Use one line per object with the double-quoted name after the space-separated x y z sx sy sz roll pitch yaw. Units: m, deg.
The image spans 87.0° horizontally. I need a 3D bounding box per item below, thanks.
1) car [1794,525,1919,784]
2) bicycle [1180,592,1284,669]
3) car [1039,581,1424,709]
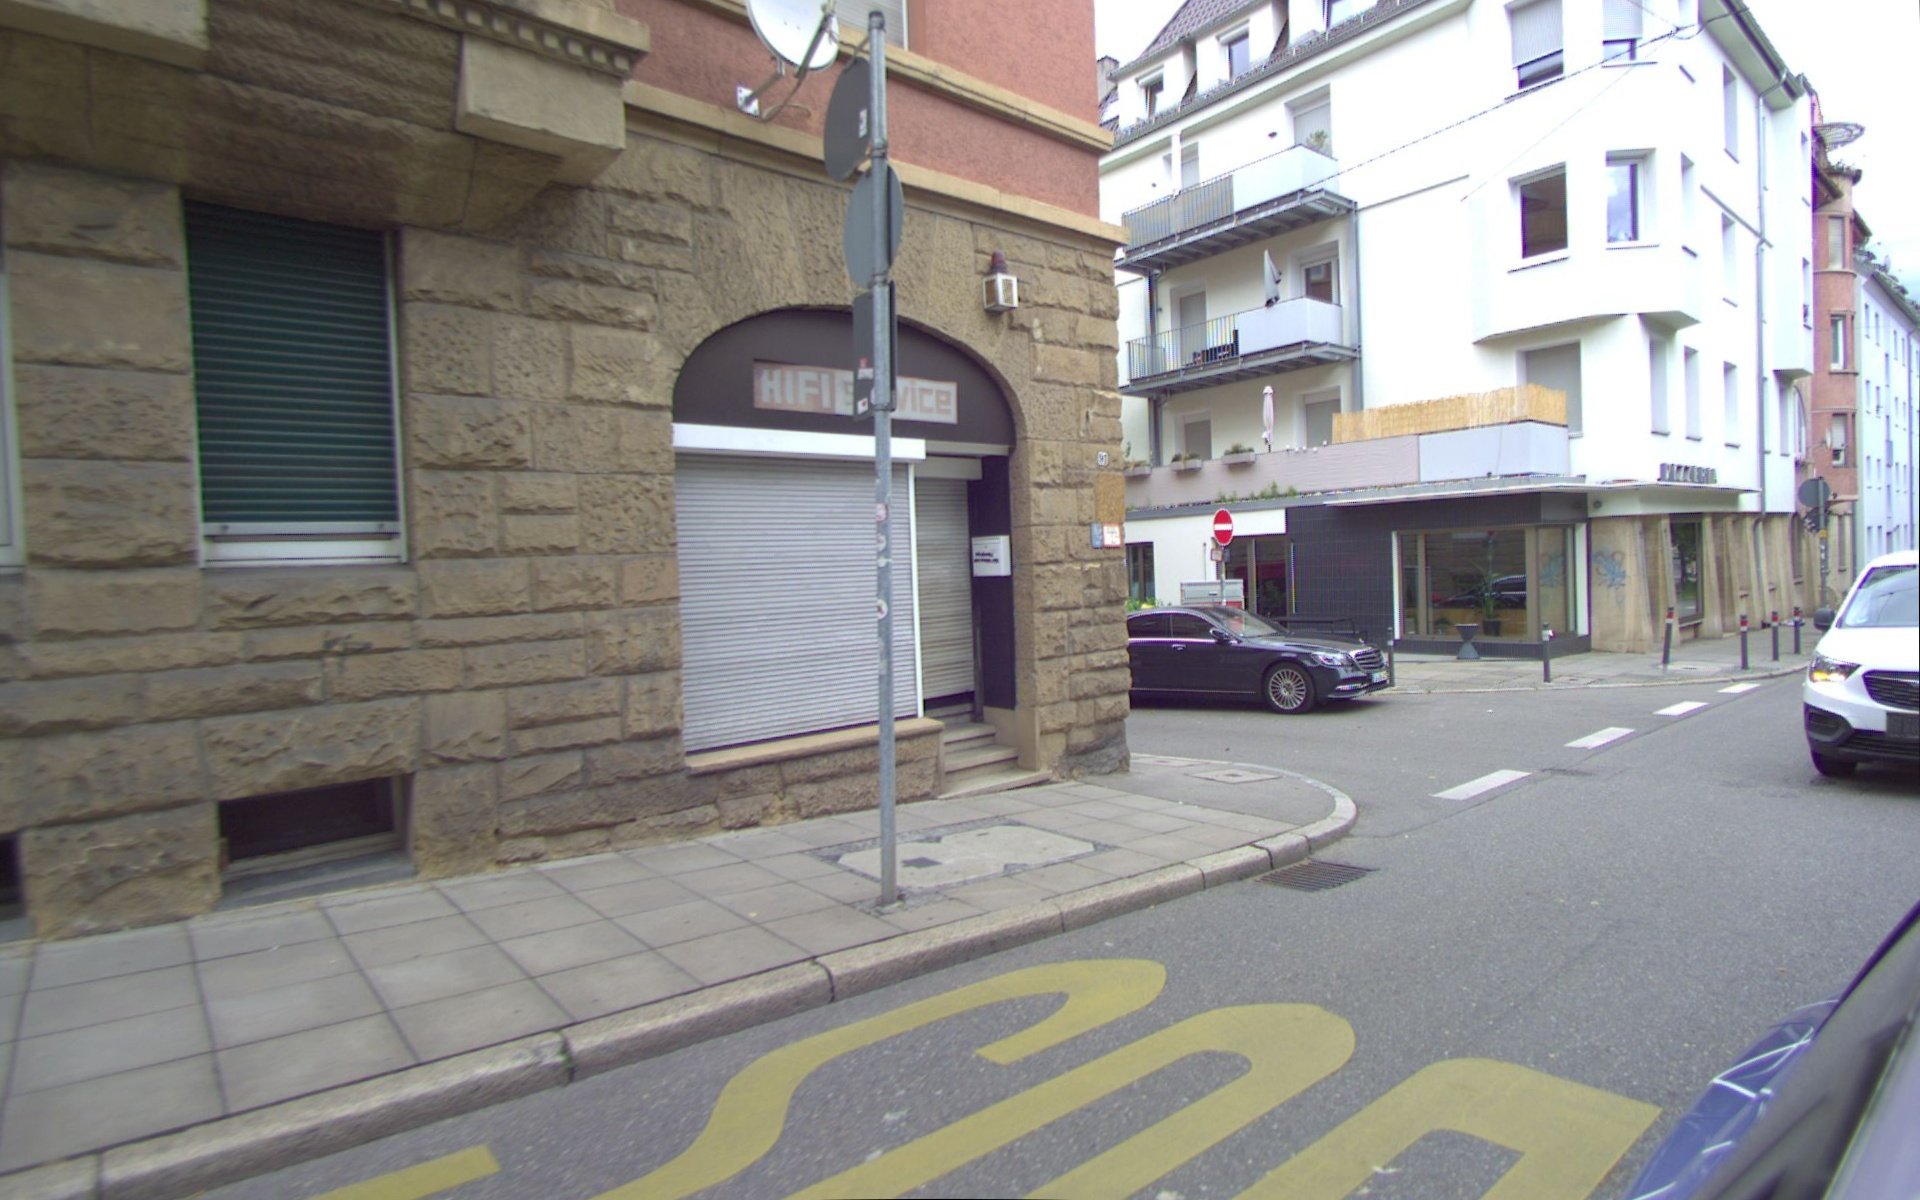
8.963 0.301 8.509 4.928 1.848 1.854 -2 0 -37 "car"
4.504 0.495 16.784 1.495 1.167 0.625 -1 3 41 "bicycle"
3.867 0.659 15.156 2.203 1.570 5.126 -2 -2 -45 "car"
